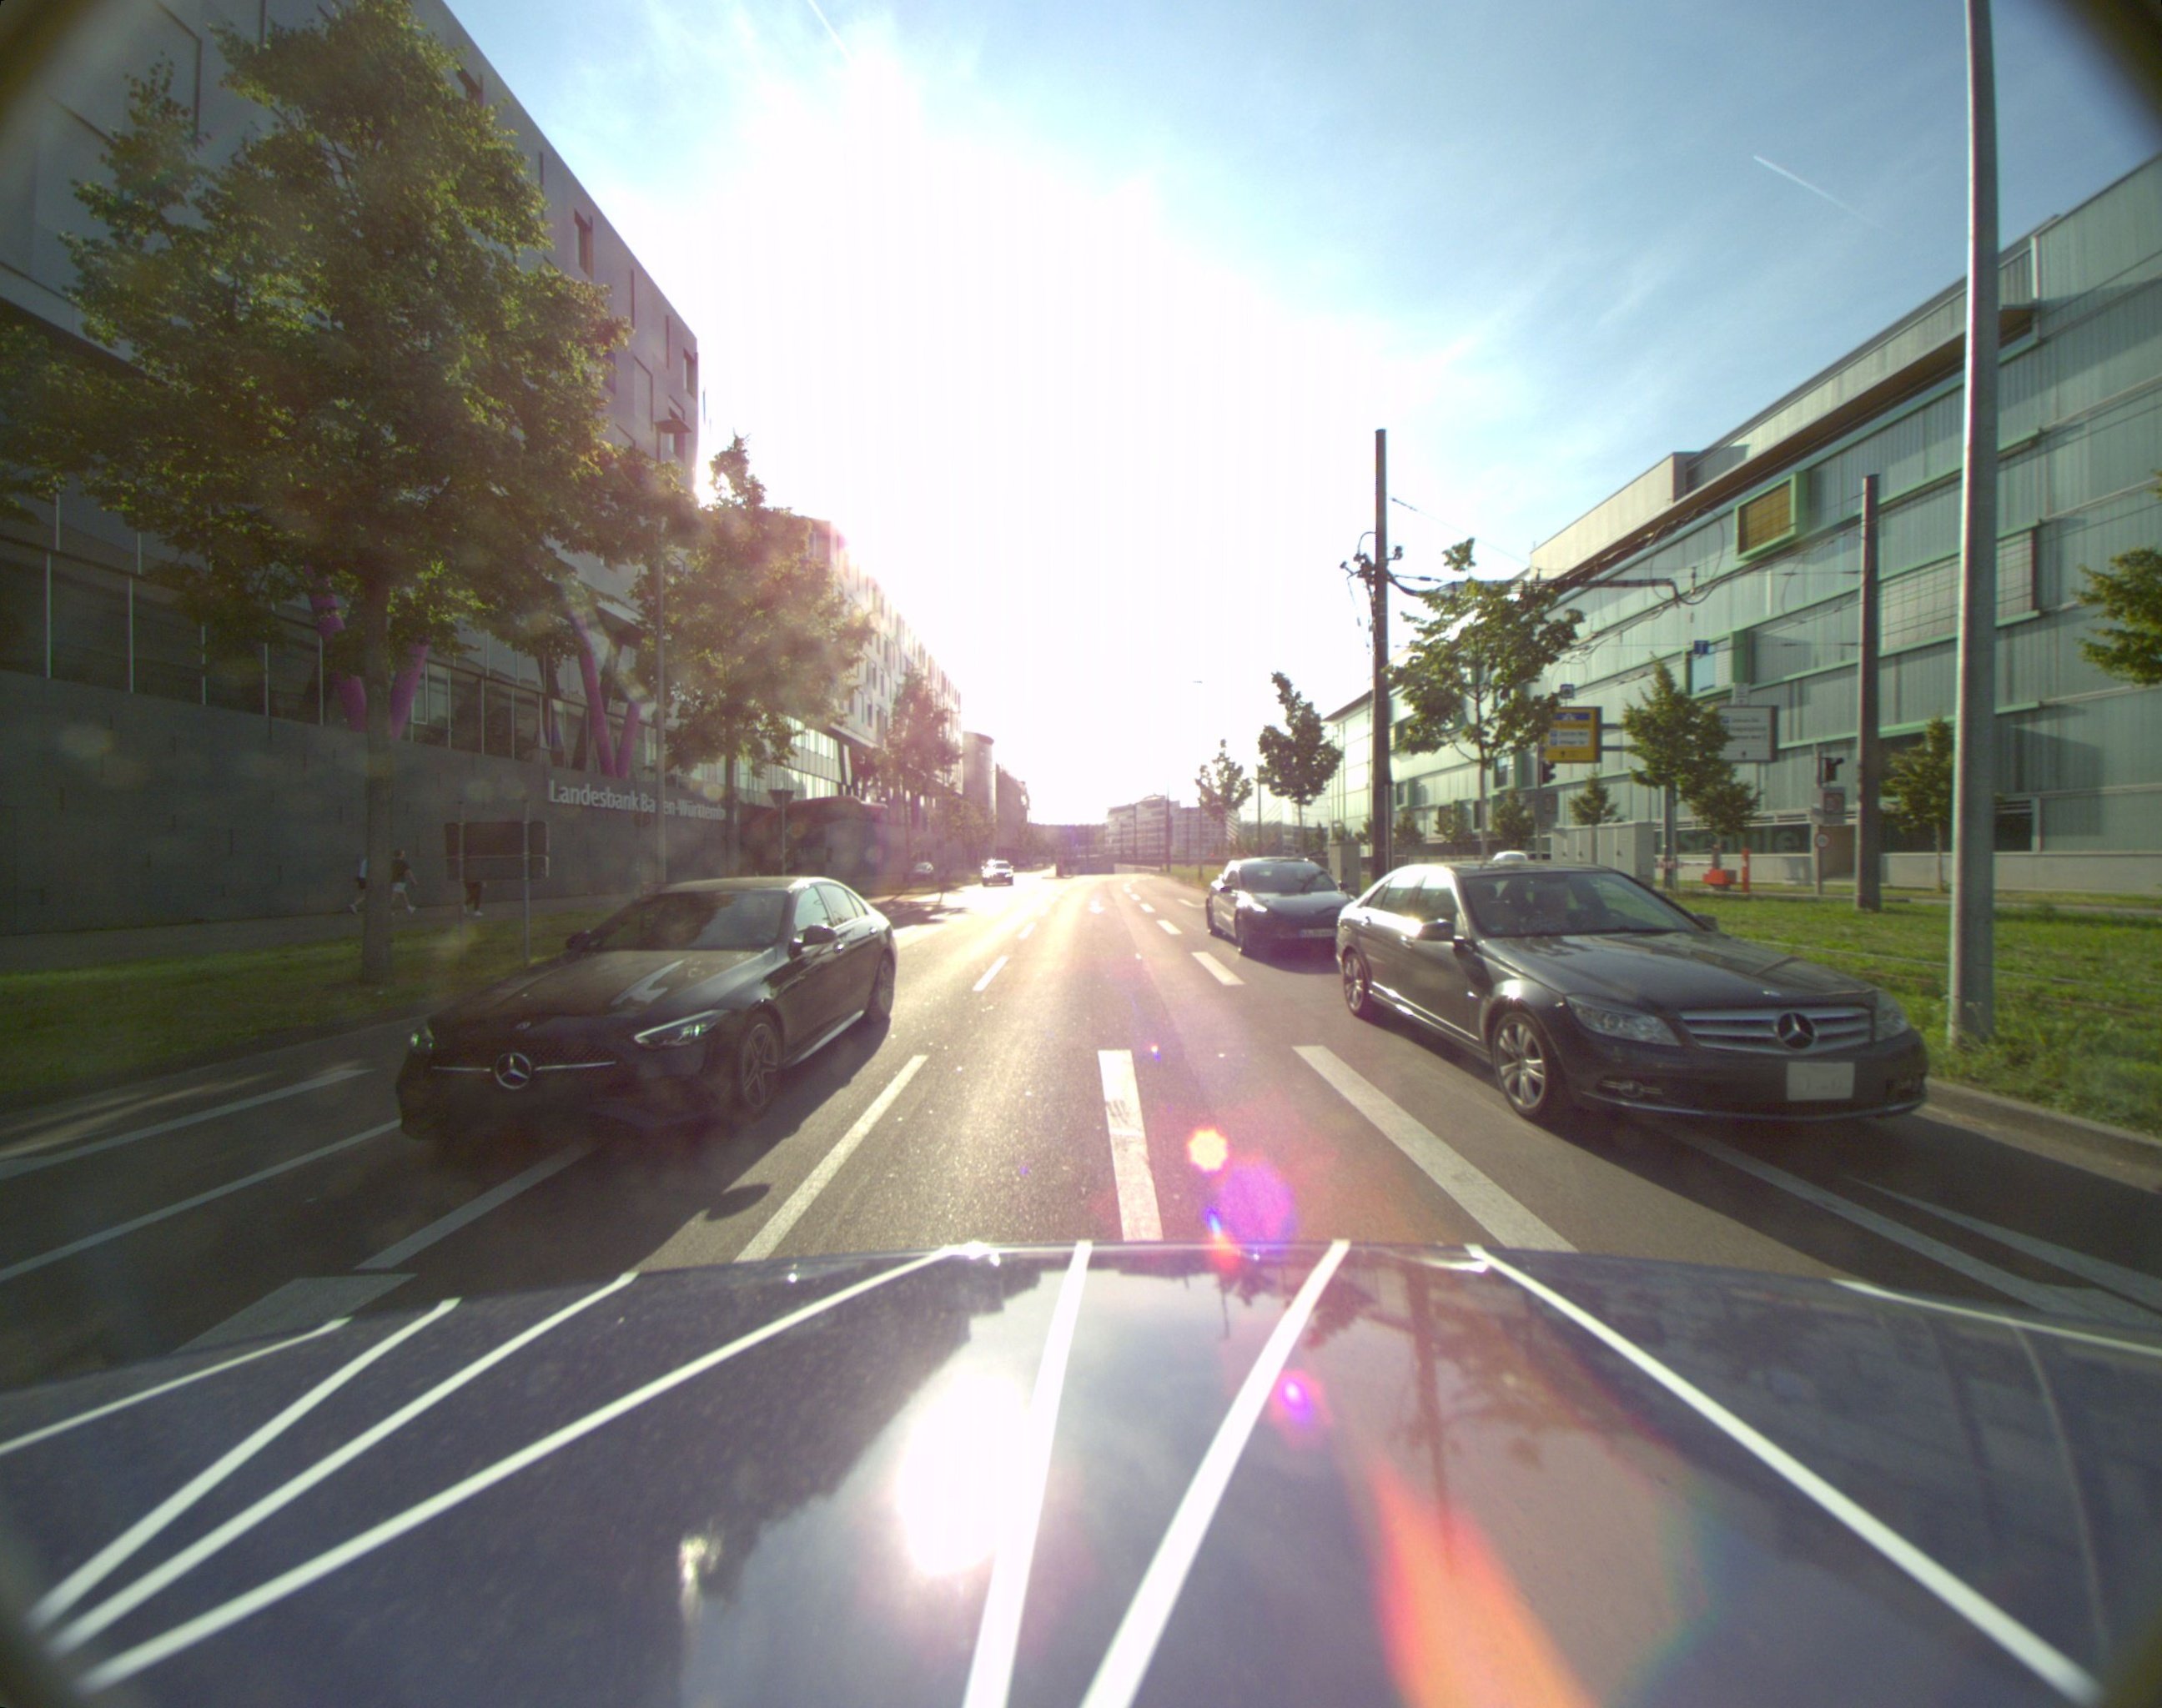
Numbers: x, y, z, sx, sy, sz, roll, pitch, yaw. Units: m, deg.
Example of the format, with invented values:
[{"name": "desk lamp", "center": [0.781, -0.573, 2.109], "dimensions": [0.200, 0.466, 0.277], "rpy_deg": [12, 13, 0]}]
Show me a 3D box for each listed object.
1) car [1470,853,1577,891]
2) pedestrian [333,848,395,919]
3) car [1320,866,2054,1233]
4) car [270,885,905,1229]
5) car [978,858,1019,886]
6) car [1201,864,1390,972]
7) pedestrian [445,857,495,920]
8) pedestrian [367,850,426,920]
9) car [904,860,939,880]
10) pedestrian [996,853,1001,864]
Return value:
[{"name": "car", "center": [20.695, 0.802, 35.824], "dimensions": [1.999, 1.674, 4.994], "rpy_deg": [0, 0, -2]}, {"name": "pedestrian", "center": [-18.820, 0.768, 19.964], "dimensions": [0.770, 1.814, 0.853], "rpy_deg": [2, 0, 0]}, {"name": "car", "center": [3.261, 0.876, 5.416], "dimensions": [1.791, 1.470, 4.354], "rpy_deg": [-2, 0, 1]}, {"name": "car", "center": [-2.859, 1.055, 5.862], "dimensions": [1.843, 1.441, 4.556], "rpy_deg": [-1, -1, 1]}, {"name": "car", "center": [-5.031, 1.044, 45.843], "dimensions": [1.896, 1.418, 4.467], "rpy_deg": [-2, 1, -13]}, {"name": "car", "center": [3.245, 0.900, 12.460], "dimensions": [1.894, 1.377, 4.335], "rpy_deg": [-2, 0, 1]}, {"name": "pedestrian", "center": [-16.062, 0.896, 19.983], "dimensions": [0.695, 1.629, 0.736], "rpy_deg": [-1, 0, 0]}, {"name": "pedestrian", "center": [-18.024, 0.800, 20.022], "dimensions": [0.756, 1.783, 0.844], "rpy_deg": [2, 0, 0]}, {"name": "car", "center": [-11.592, 1.143, 55.598], "dimensions": [1.696, 1.382, 4.199], "rpy_deg": [0, -1, -1]}, {"name": "pedestrian", "center": [-13.368, 0.762, 122.820], "dimensions": [0.725, 1.776, 0.772], "rpy_deg": [0, 0, 0]}]
